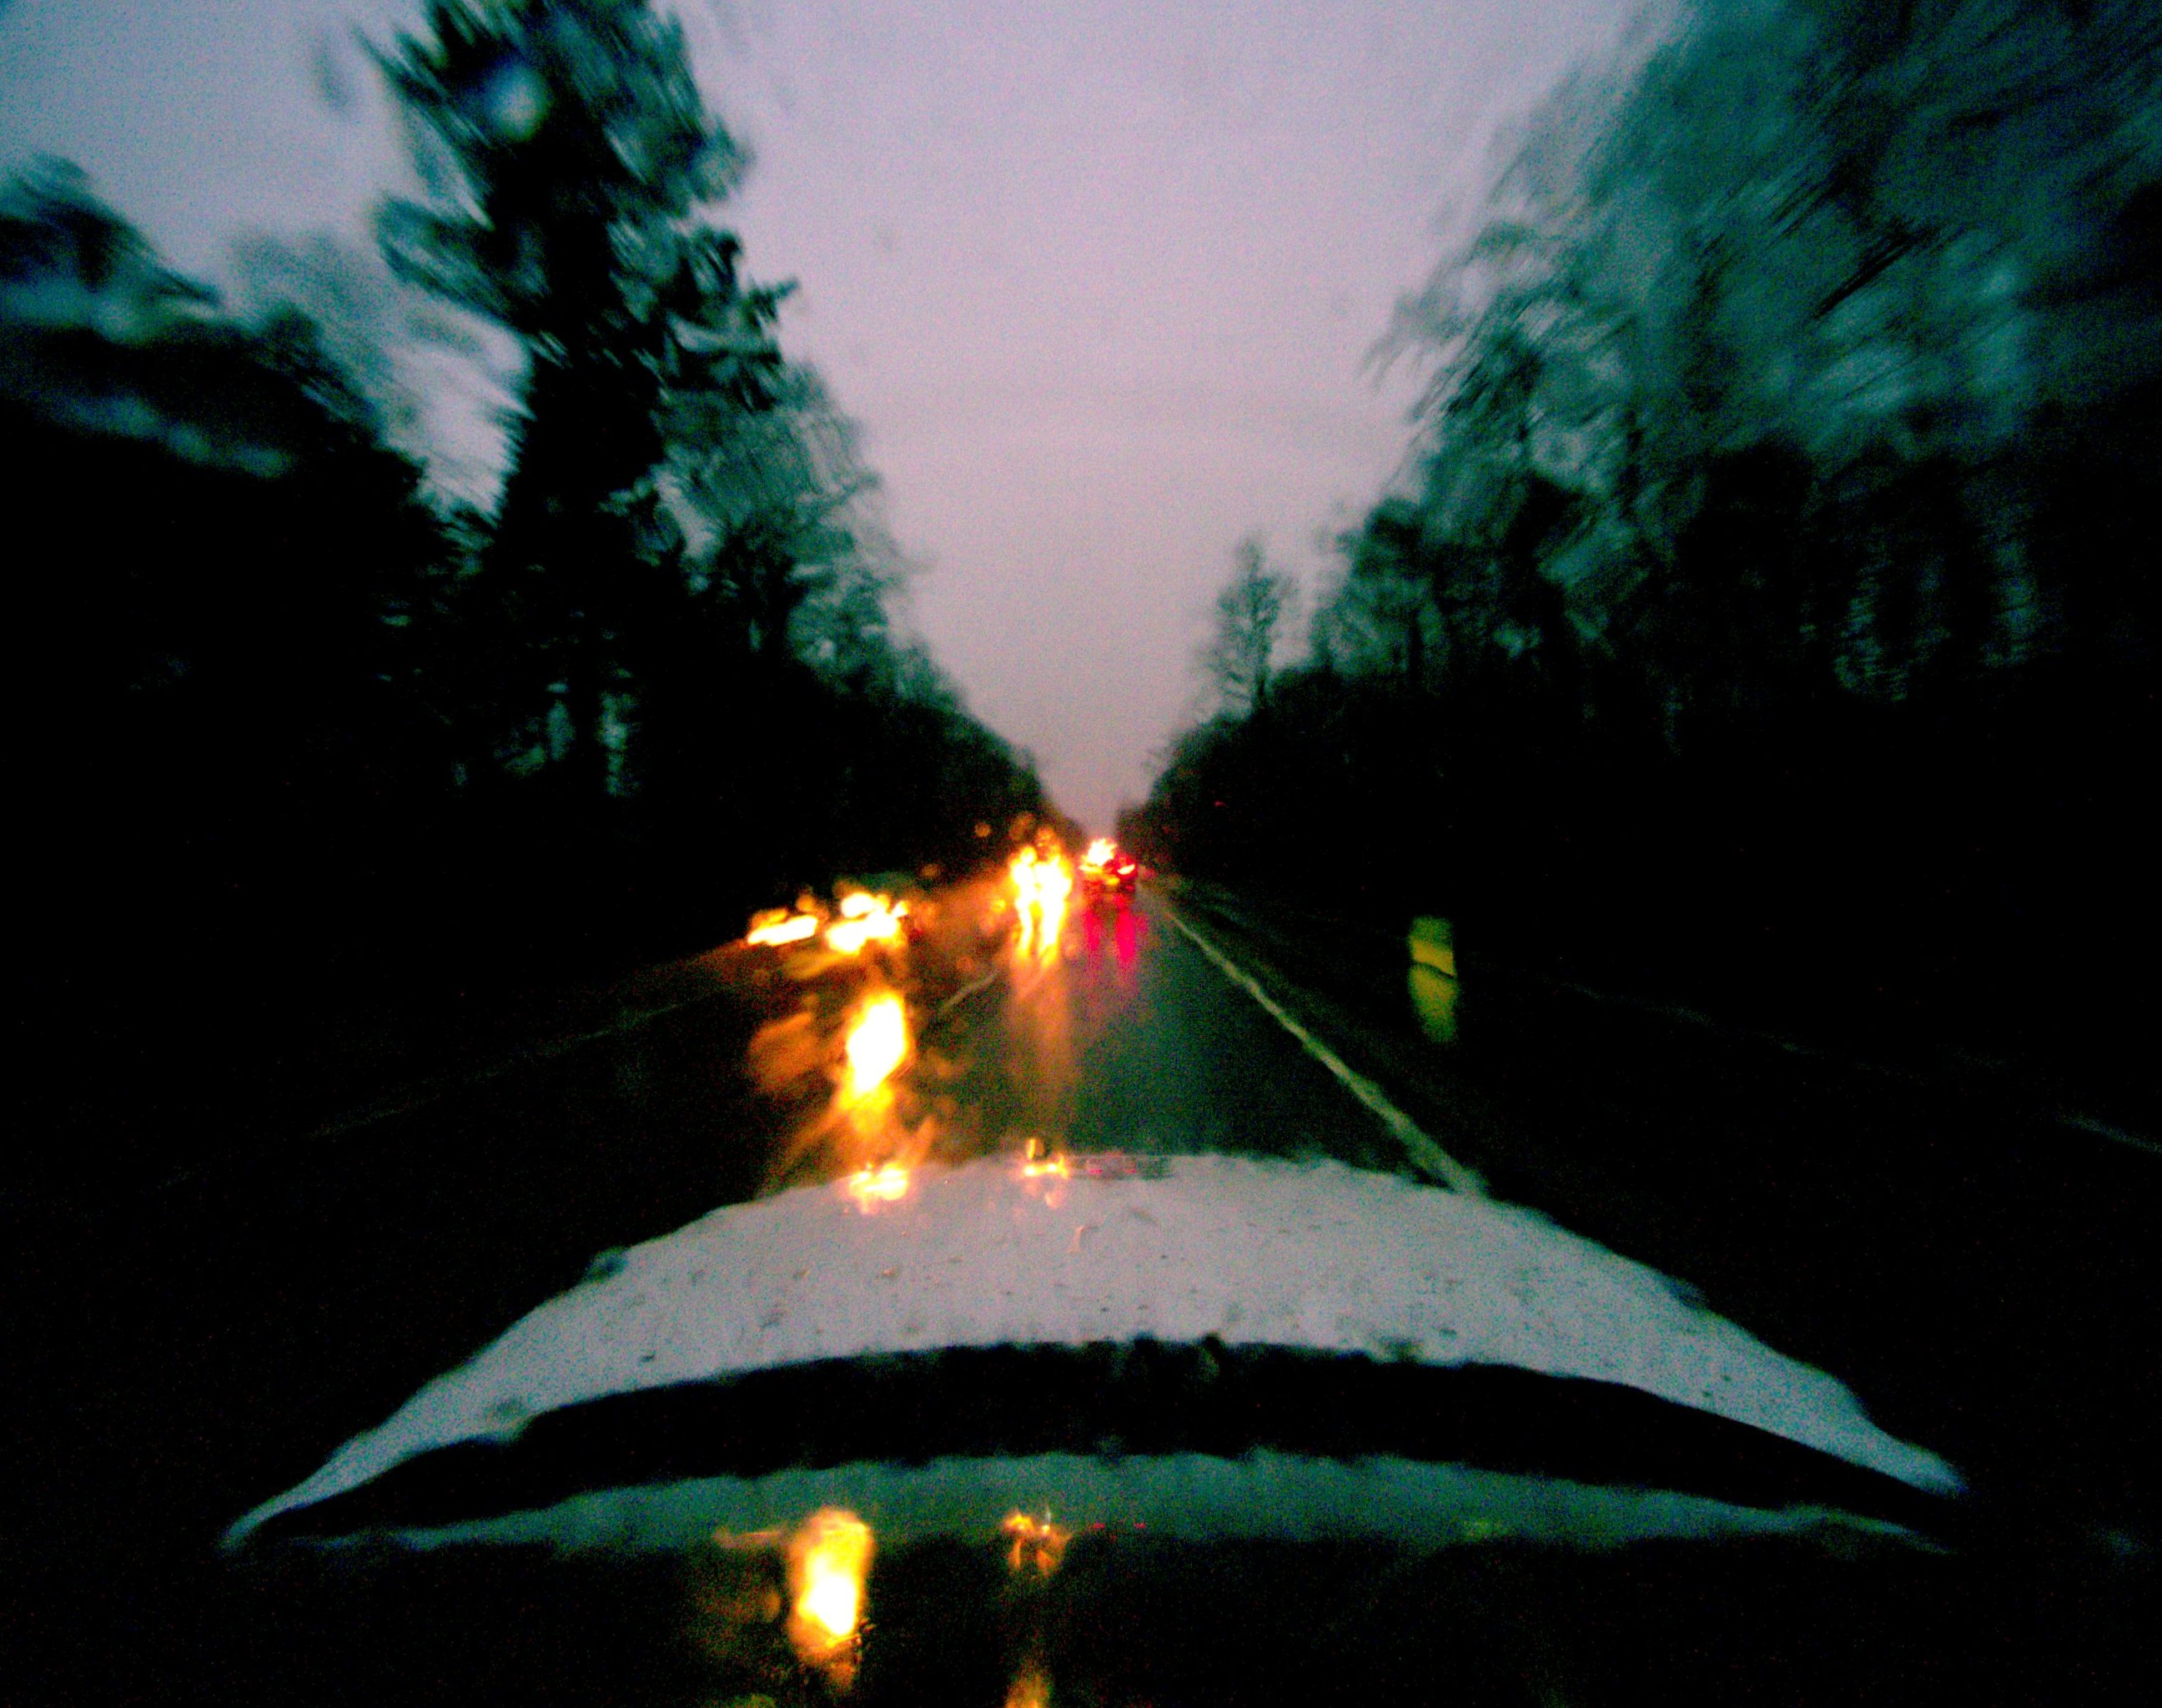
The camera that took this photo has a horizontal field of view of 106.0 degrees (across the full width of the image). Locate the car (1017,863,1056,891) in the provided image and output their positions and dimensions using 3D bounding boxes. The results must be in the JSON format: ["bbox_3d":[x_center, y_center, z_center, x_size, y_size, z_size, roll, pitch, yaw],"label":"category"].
[{"bbox_3d":[-2.338,1.221,43.746,1.697,1.363,4.376,-2,-1,1],"label":"car"}]

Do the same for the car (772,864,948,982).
[{"bbox_3d":[-3.213,0.931,12.544,1.507,1.413,3.662,-3,0,2],"label":"car"}]
